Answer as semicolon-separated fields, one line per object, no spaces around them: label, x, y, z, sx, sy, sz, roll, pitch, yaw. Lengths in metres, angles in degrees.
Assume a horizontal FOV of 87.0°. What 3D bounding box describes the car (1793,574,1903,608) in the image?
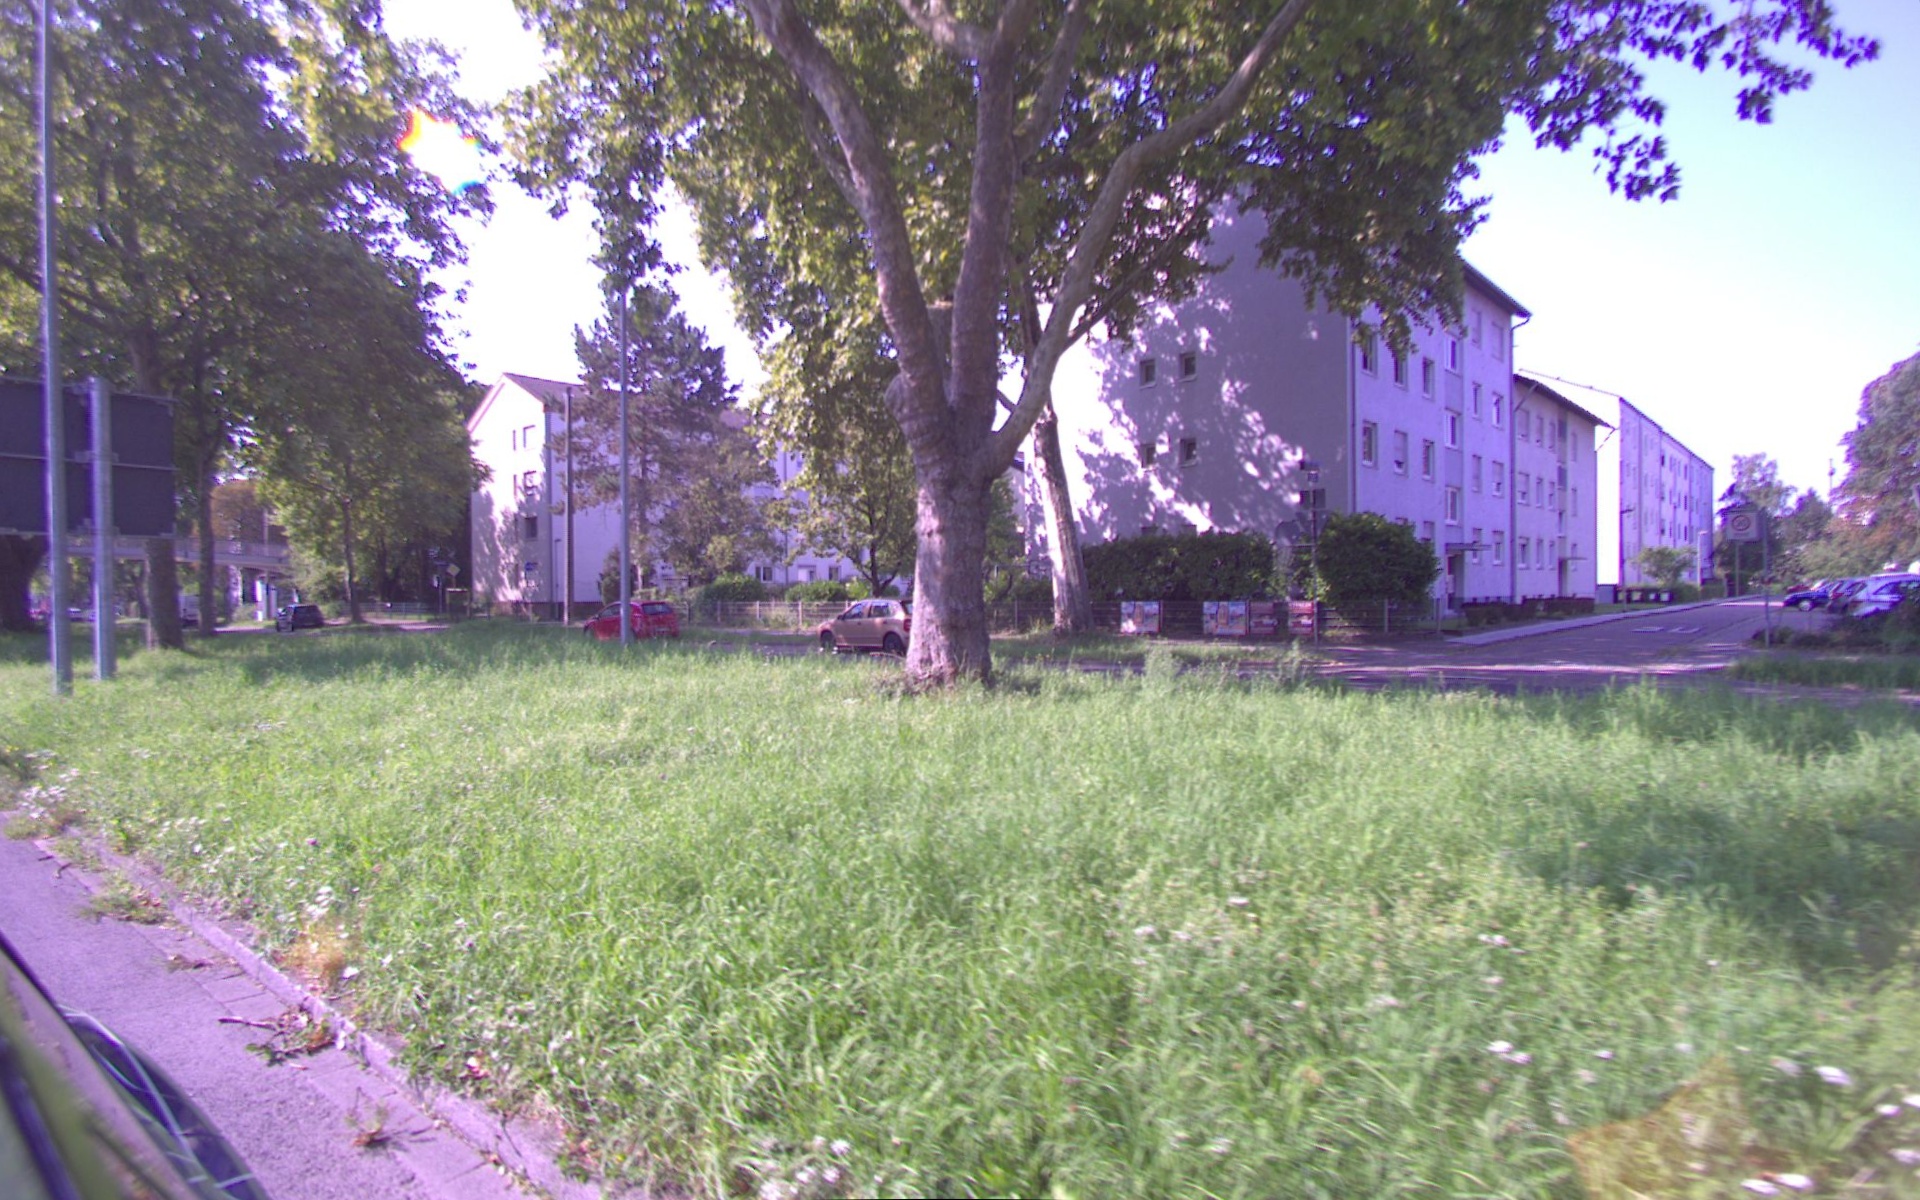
car;40.278;-0.397;45.959;3.683;1.450;1.525;0;1;44

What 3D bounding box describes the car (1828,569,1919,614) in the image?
car;31.110;-0.298;33.372;3.683;1.450;1.525;0;1;44

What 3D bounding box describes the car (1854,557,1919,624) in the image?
car;24.507;-0.255;24.797;1.590;1.638;3.752;-2;1;-42

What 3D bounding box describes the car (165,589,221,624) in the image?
car;-57.430;0.483;75.730;6.265;2.448;2.184;0;3;43

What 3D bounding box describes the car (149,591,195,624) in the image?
car;-63.206;0.613;81.134;2.182;2.498;6.064;-2;1;-45

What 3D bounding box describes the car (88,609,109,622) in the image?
car;-105.678;1.875;124.119;1.626;1.490;3.901;-2;1;-45

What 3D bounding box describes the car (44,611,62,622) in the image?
car;-135.140;2.409;150.773;4.457;1.544;1.767;0;1;45

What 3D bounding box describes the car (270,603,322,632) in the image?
car;-37.757;0.979;57.505;3.861;1.544;1.507;0;0;41

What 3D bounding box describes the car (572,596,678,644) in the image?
car;-11.236;0.634;33.819;4.063;1.462;1.522;0;1;42

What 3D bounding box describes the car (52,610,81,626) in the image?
car;-95.453;1.933;108.102;4.718;1.733;1.783;-1;0;42

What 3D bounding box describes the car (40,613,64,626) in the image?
car;-110.463;2.378;123.074;4.067;1.544;1.673;-1;0;41

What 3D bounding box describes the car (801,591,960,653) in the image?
car;-2.112;0.552;26.239;4.063;1.441;1.783;-1;1;42
